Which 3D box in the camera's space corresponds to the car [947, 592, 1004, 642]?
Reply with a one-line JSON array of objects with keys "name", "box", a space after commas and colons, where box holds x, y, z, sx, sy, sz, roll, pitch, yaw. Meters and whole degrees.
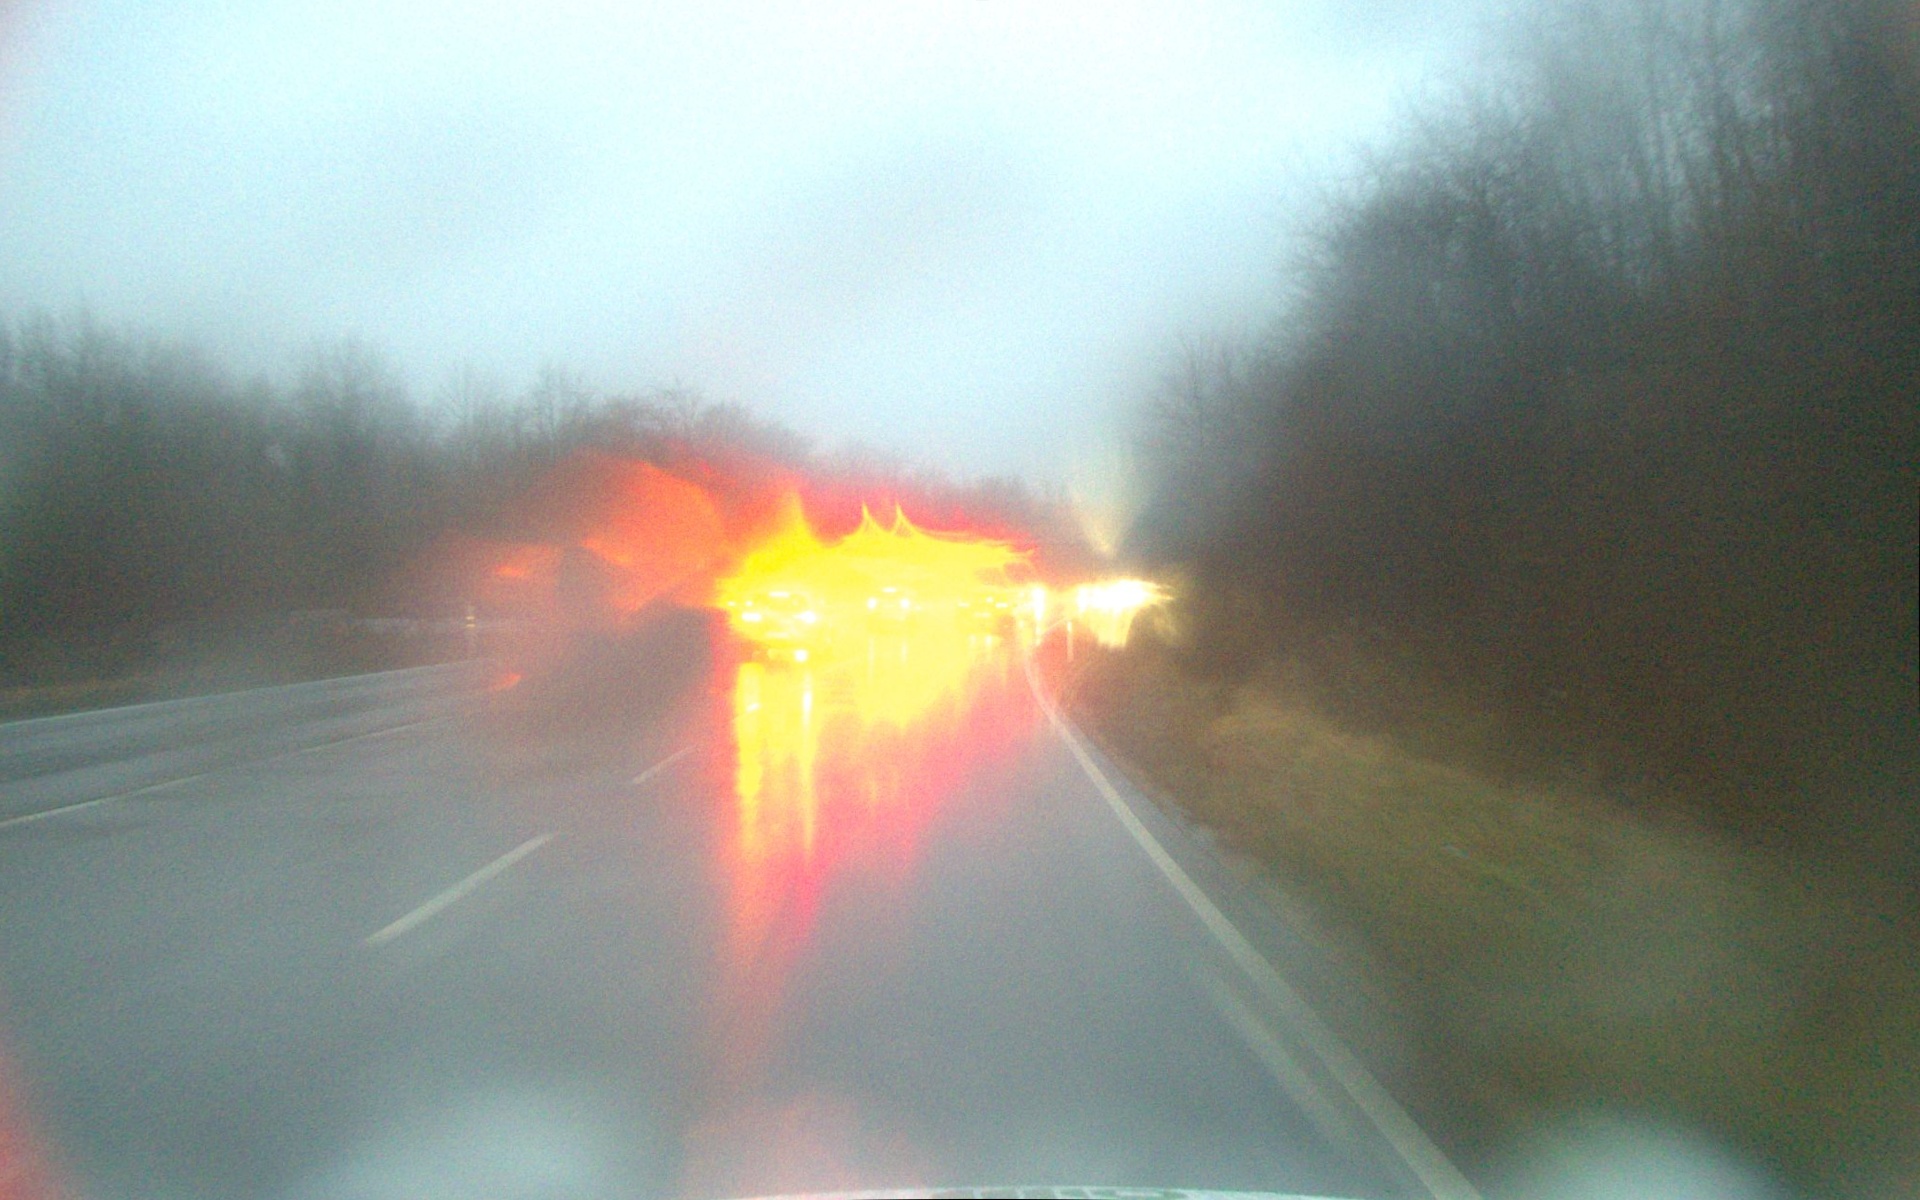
[{"name": "car", "box": [0.488, 0.474, 49.848, 1.644, 1.414, 4.098, 0, 1, 1]}]

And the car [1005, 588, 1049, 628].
[{"name": "car", "box": [2.967, 0.328, 72.648, 1.643, 1.704, 4.101, 0, 1, 6]}]

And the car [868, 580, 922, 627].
[{"name": "car", "box": [-2.366, 0.104, 61.152, 1.677, 1.655, 4.219, 1, 0, 2]}]

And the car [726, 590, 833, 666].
[{"name": "car", "box": [-4.022, 0.590, 37.529, 1.964, 1.583, 4.516, 1, 0, -1]}]
